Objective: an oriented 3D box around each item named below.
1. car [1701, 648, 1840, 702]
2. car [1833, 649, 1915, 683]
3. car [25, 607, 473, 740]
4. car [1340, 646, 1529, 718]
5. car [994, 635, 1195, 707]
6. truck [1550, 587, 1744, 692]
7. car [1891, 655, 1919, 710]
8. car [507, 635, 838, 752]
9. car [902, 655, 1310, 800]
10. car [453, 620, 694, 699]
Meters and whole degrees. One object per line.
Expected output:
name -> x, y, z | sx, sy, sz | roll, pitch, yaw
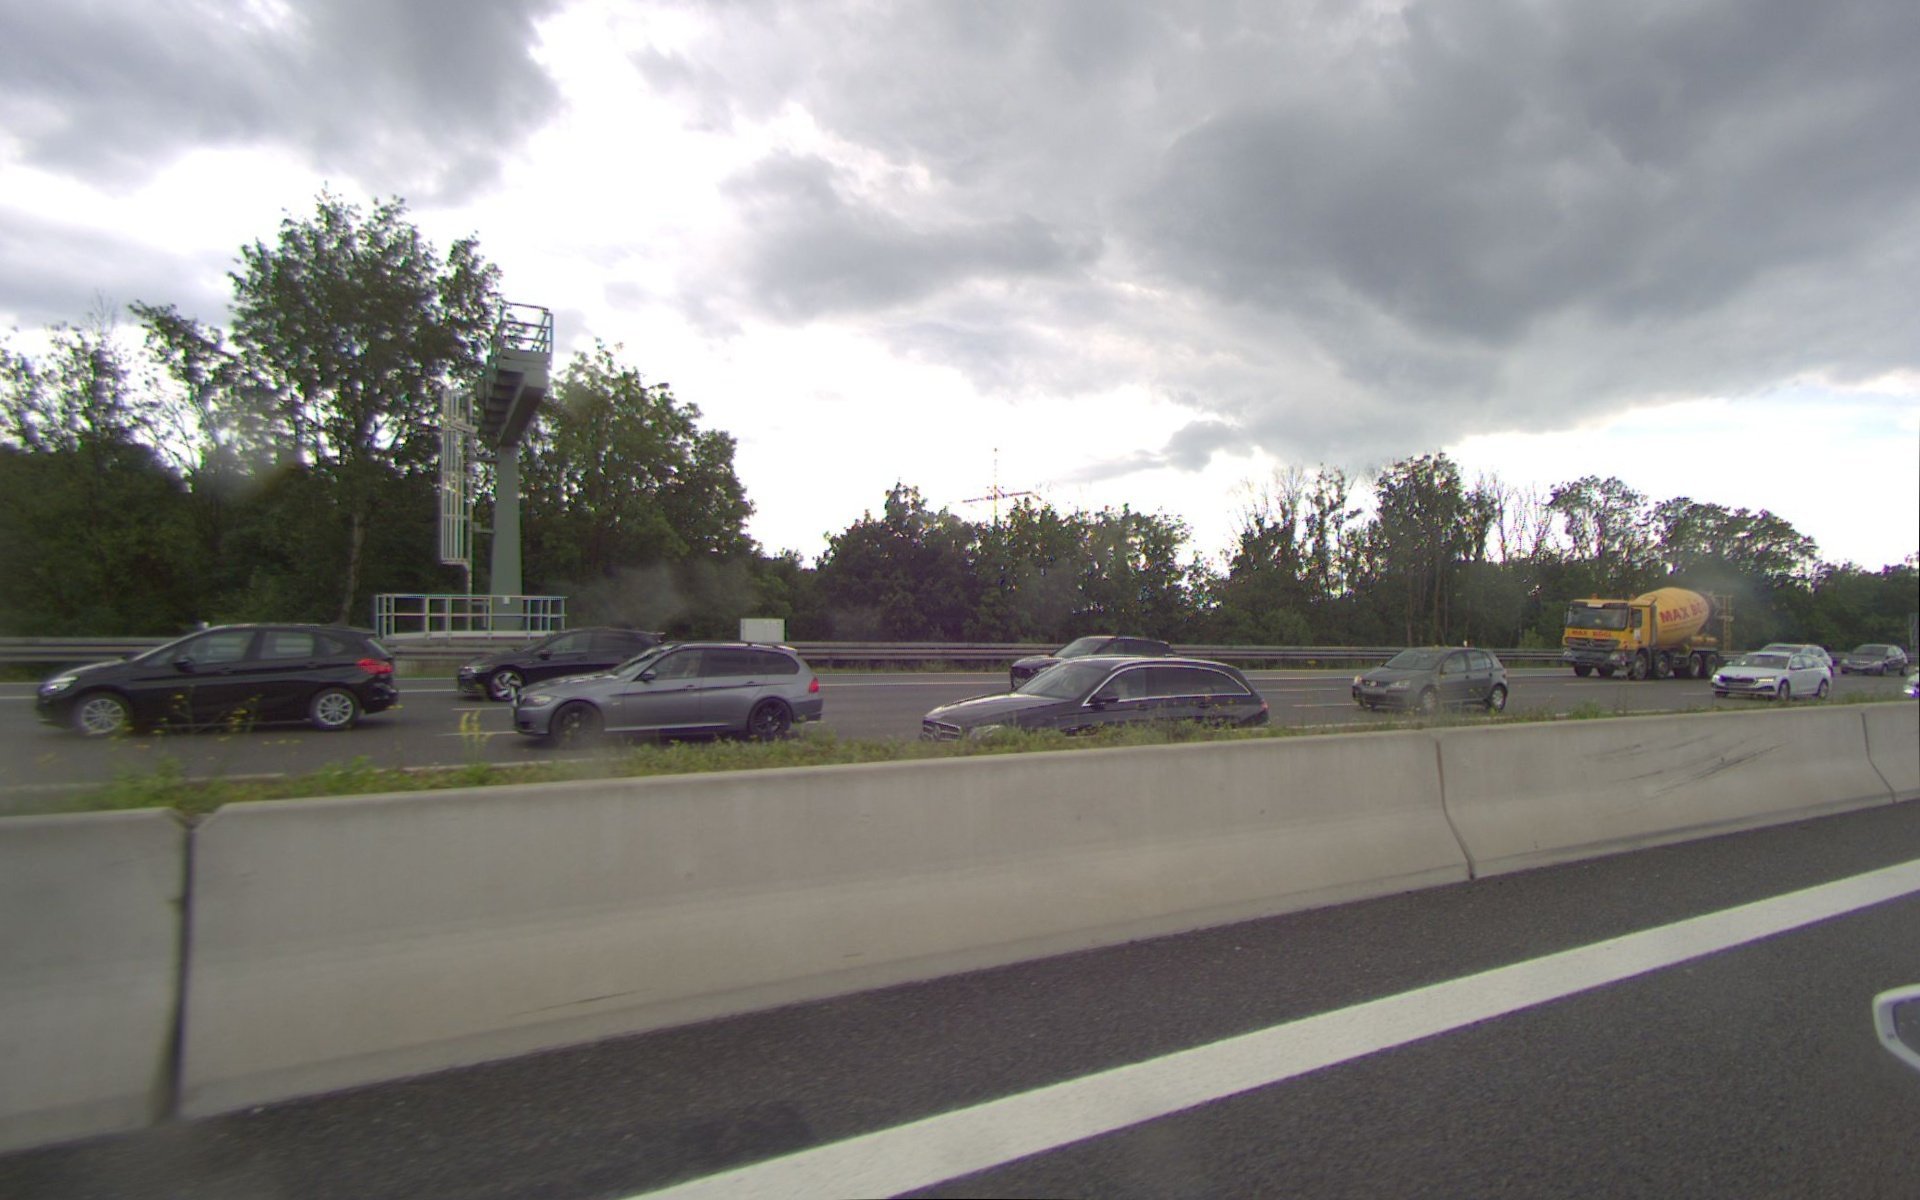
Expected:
car -> 25.542, 2.339, 31.613 | 4.791, 1.489, 1.715 | 2, 0, -29
car -> 48.159, 3.461, 52.889 | 4.854, 1.624, 1.715 | 2, 0, -29
car -> -10.222, 1.046, 15.021 | 5.173, 1.668, 1.715 | 2, 0, -29
car -> 11.145, 1.889, 23.527 | 4.465, 1.447, 1.715 | 2, 0, -29
car -> 3.149, 1.627, 23.312 | 4.465, 1.447, 1.715 | 2, 0, -29
truck -> 29.195, 1.669, 42.509 | 9.468, 4.067, 2.902 | 2, -1, -30
car -> 28.162, 2.346, 28.176 | 4.595, 1.447, 1.715 | 2, 0, -30
car -> -4.235, 1.328, 14.980 | 4.465, 1.447, 1.715 | 2, 0, -29
car -> 1.968, 1.499, 12.823 | 5.167, 1.447, 1.715 | 2, 0, -29
car -> -8.018, 1.228, 20.944 | 4.465, 1.447, 1.715 | 2, 0, -29
